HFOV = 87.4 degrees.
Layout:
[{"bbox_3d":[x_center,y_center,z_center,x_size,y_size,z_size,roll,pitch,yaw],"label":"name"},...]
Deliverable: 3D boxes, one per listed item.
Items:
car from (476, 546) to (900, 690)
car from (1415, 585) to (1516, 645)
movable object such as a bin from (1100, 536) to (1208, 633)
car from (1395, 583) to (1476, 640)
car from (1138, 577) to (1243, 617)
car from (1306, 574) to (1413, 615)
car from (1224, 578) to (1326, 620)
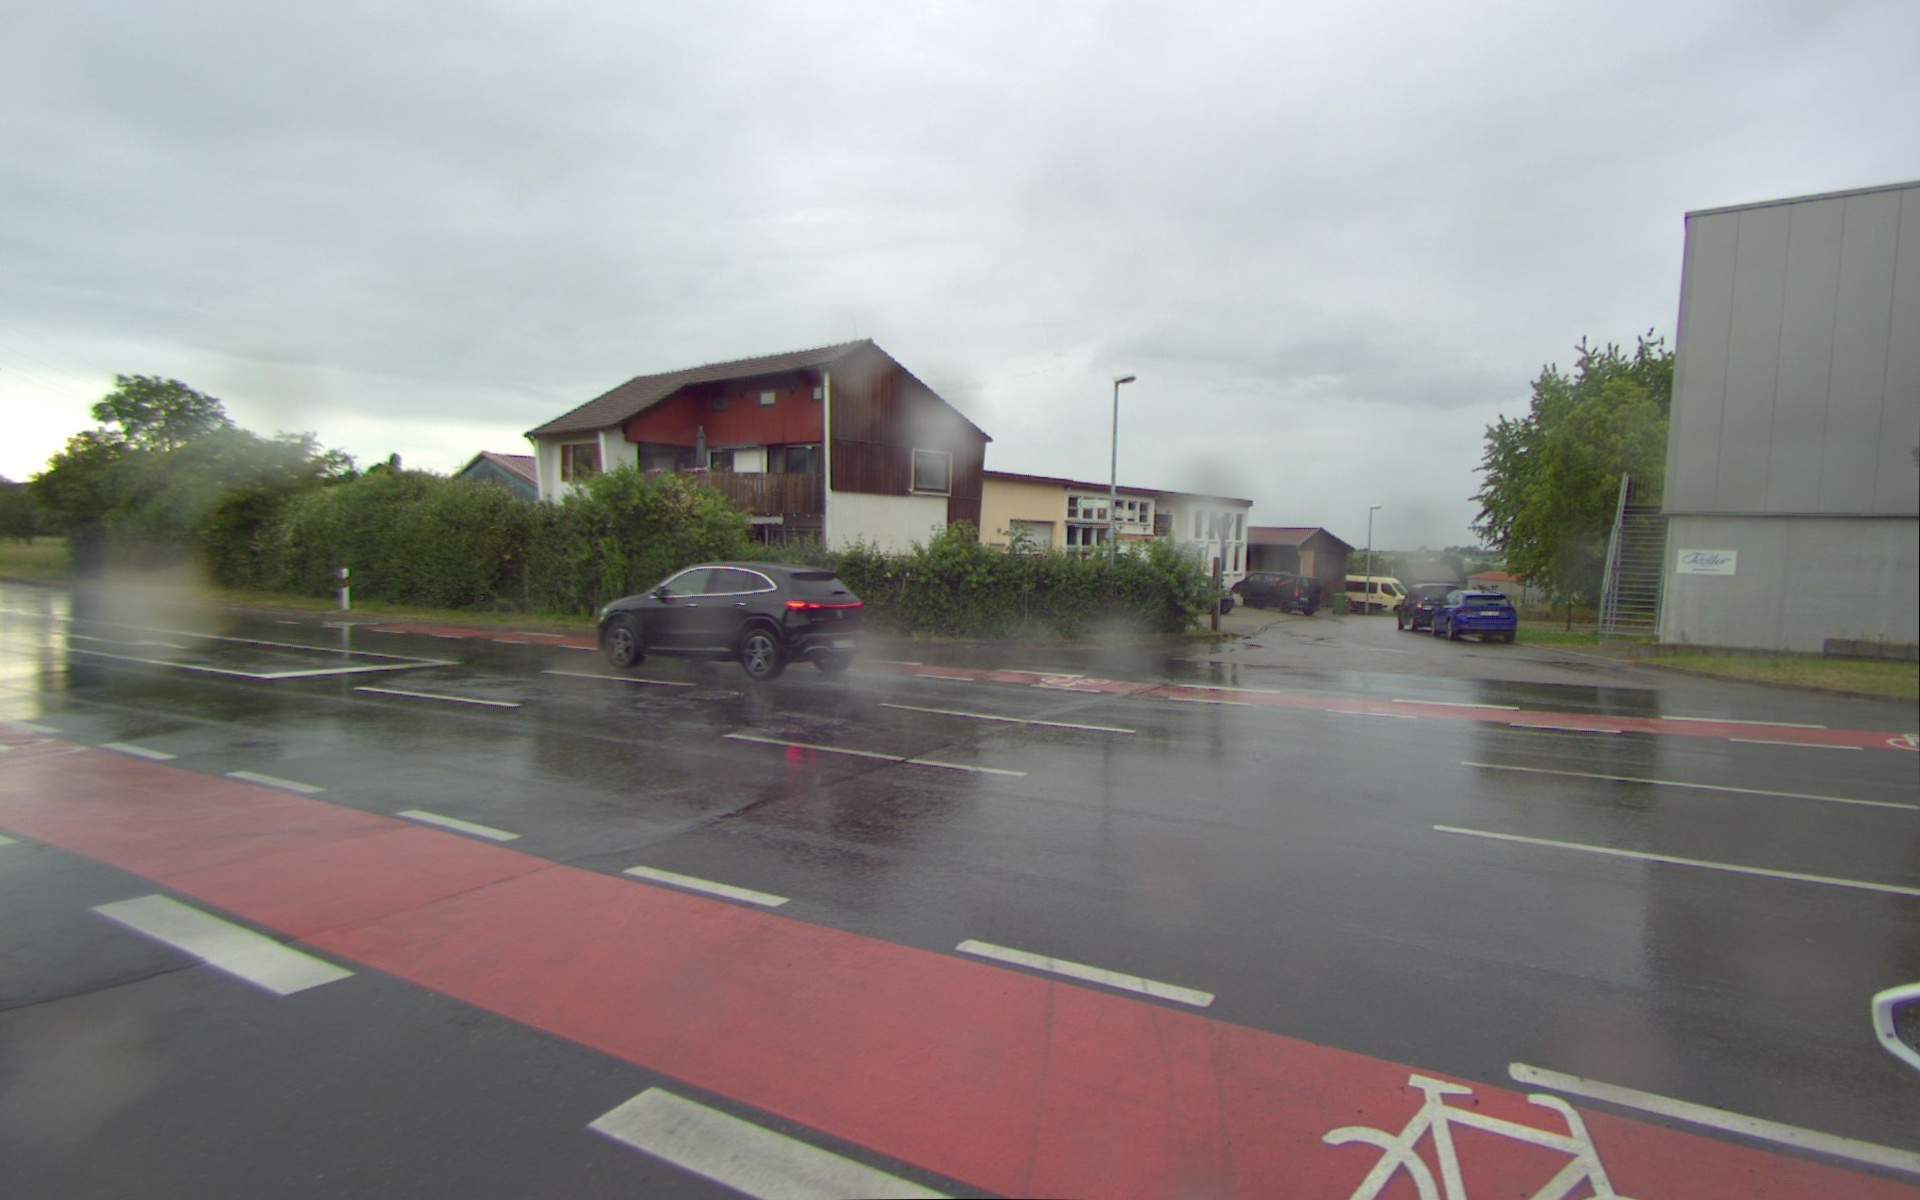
[{"bbox_3d":[-4.428,0.139,15.843,6.753,1.840,2.357,2,1,30],"label":"car"},{"bbox_3d":[15.353,0.415,30.759,1.919,1.631,4.448,2,1,16],"label":"car"},{"bbox_3d":[5.586,-0.430,28.717,1.710,2.591,3.328,2,1,36],"label":"movable object such as a bin"},{"bbox_3d":[17.248,0.396,36.648,2.039,1.859,4.471,2,1,18],"label":"car"},{"bbox_3d":[9.900,-0.149,43.252,3.941,1.576,1.990,2,1,41],"label":"car"},{"bbox_3d":[25.732,-0.376,64.867,5.943,2.447,2.449,2,1,43],"label":"car"},{"bbox_3d":[15.445,-0.076,49.400,4.349,1.930,1.988,2,1,44],"label":"car"}]
